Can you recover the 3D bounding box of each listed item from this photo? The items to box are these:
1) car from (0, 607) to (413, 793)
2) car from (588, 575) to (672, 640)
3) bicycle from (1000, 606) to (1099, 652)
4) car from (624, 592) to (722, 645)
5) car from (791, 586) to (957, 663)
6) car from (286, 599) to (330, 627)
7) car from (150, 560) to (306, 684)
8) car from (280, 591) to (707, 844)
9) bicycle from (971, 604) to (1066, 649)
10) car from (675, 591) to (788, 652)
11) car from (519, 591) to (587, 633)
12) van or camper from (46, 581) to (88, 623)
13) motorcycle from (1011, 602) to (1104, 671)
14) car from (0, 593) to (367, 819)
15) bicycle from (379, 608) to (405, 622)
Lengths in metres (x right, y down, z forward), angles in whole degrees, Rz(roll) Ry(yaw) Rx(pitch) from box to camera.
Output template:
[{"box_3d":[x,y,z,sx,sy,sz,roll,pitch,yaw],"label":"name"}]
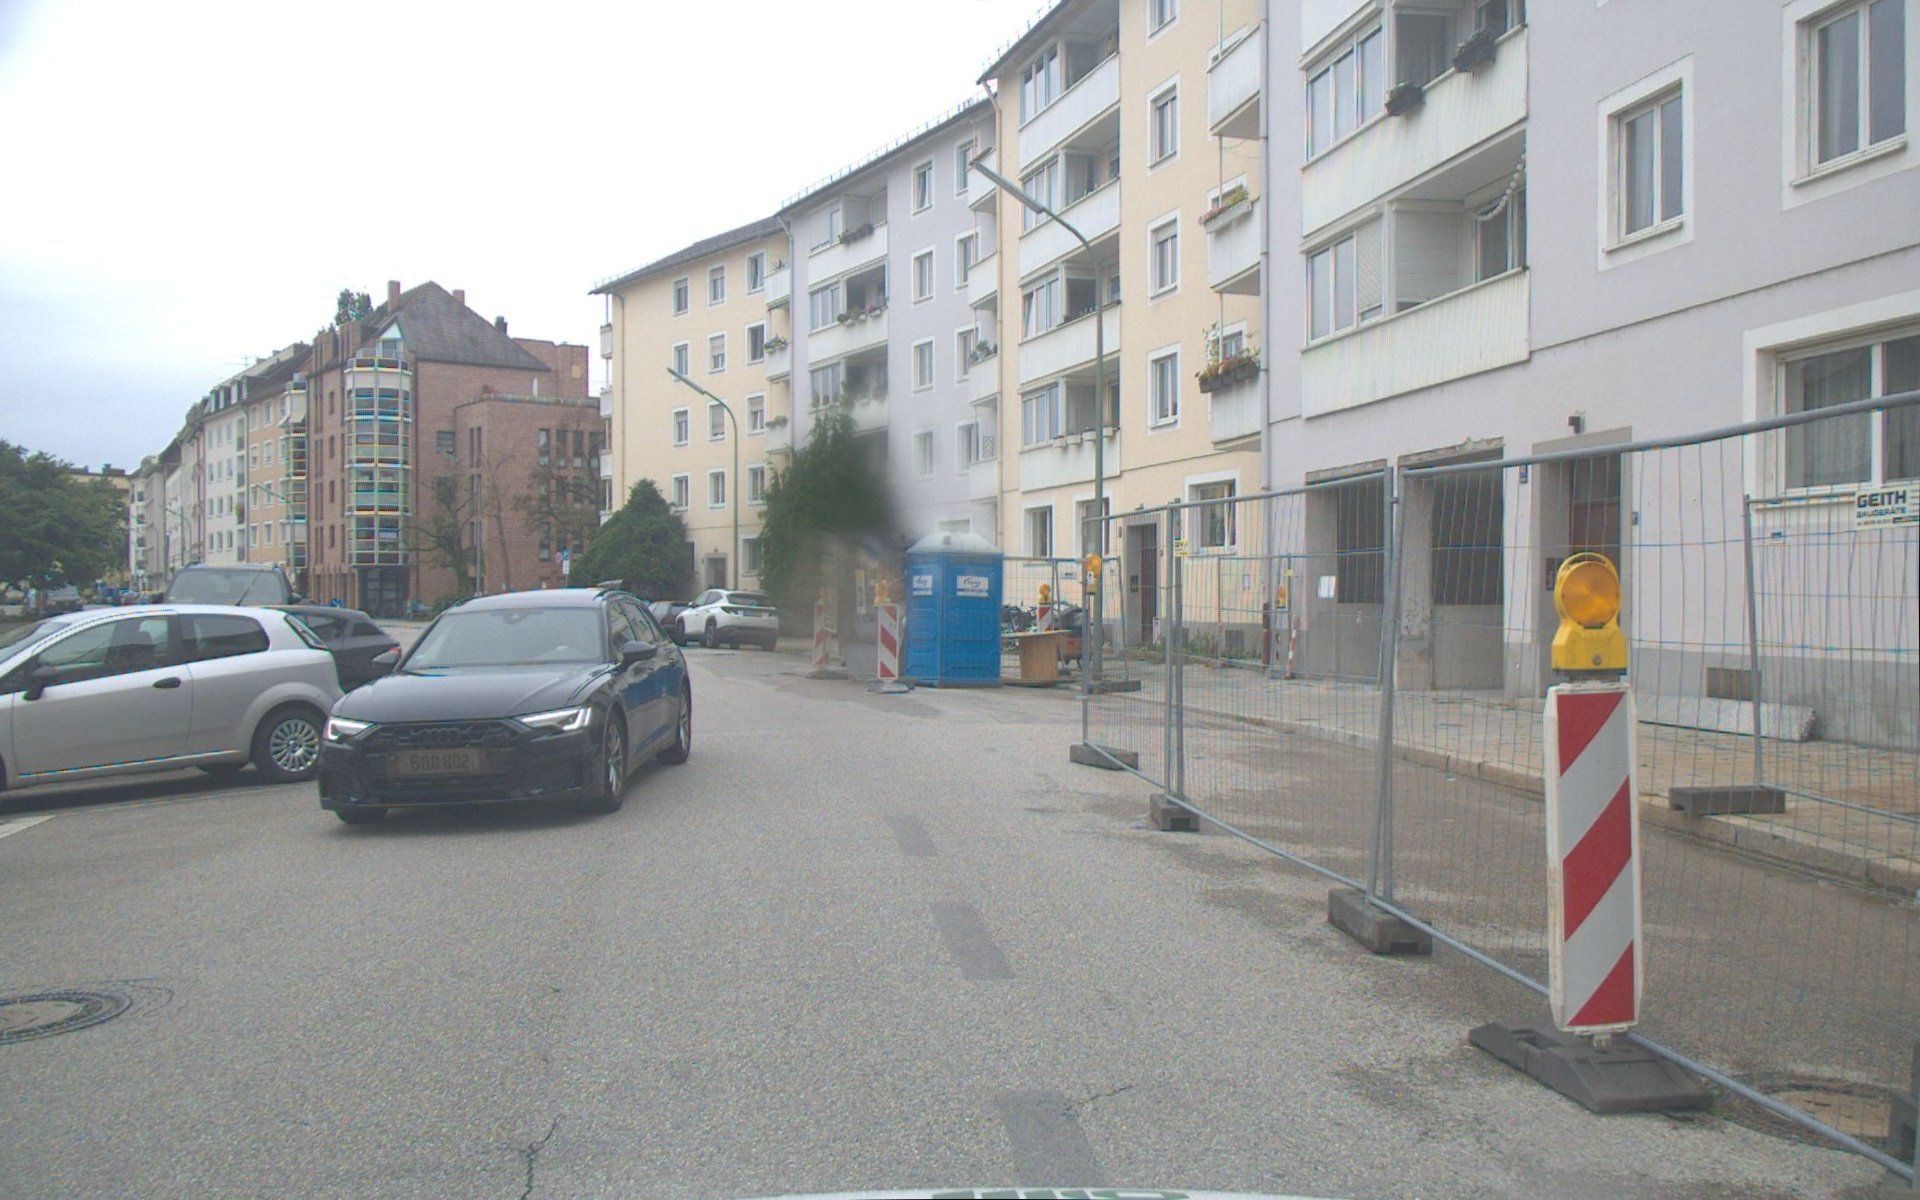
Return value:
[{"box_3d":[-7.663,0.887,16.235,1.783,1.445,3.972,-2,1,44],"label":"car"},{"box_3d":[-10.886,0.236,54.413,1.760,2.011,3.687,-2,1,-27],"label":"car"},{"box_3d":[2.151,0.685,39.730,2.199,1.088,0.914,0,0,-19],"label":"bicycle"},{"box_3d":[-8.800,0.532,50.531,1.763,1.545,3.681,1,0,-31],"label":"car"},{"box_3d":[-1.804,0.444,33.413,1.761,1.464,4.242,0,0,-28],"label":"car"},{"box_3d":[-36.799,0.714,93.320,1.618,1.509,3.568,0,0,-34],"label":"car"},{"box_3d":[-11.485,0.317,26.232,2.023,1.766,4.854,0,0,-21],"label":"car"},{"box_3d":[-3.189,0.700,12.390,1.881,1.436,4.703,-3,0,-1],"label":"car"},{"box_3d":[1.456,0.659,41.095,2.199,1.088,0.914,0,0,-19],"label":"bicycle"},{"box_3d":[-6.403,0.570,45.992,1.811,1.601,3.961,0,0,-29],"label":"car"},{"box_3d":[-15.564,0.443,63.103,1.760,1.536,3.687,-1,0,-27],"label":"car"},{"box_3d":[-56.214,0.101,104.084,2.076,2.596,4.721,0,0,-31],"label":"van or camper"},{"box_3d":[1.841,0.673,31.700,0.917,1.242,2.494,0,0,-19],"label":"motorcycle"},{"box_3d":[-6.919,0.796,13.146,1.686,1.534,3.783,-2,1,45],"label":"car"},{"box_3d":[-35.032,0.916,101.984,1.093,0.869,1.705,0,0,-37],"label":"bicycle"}]
